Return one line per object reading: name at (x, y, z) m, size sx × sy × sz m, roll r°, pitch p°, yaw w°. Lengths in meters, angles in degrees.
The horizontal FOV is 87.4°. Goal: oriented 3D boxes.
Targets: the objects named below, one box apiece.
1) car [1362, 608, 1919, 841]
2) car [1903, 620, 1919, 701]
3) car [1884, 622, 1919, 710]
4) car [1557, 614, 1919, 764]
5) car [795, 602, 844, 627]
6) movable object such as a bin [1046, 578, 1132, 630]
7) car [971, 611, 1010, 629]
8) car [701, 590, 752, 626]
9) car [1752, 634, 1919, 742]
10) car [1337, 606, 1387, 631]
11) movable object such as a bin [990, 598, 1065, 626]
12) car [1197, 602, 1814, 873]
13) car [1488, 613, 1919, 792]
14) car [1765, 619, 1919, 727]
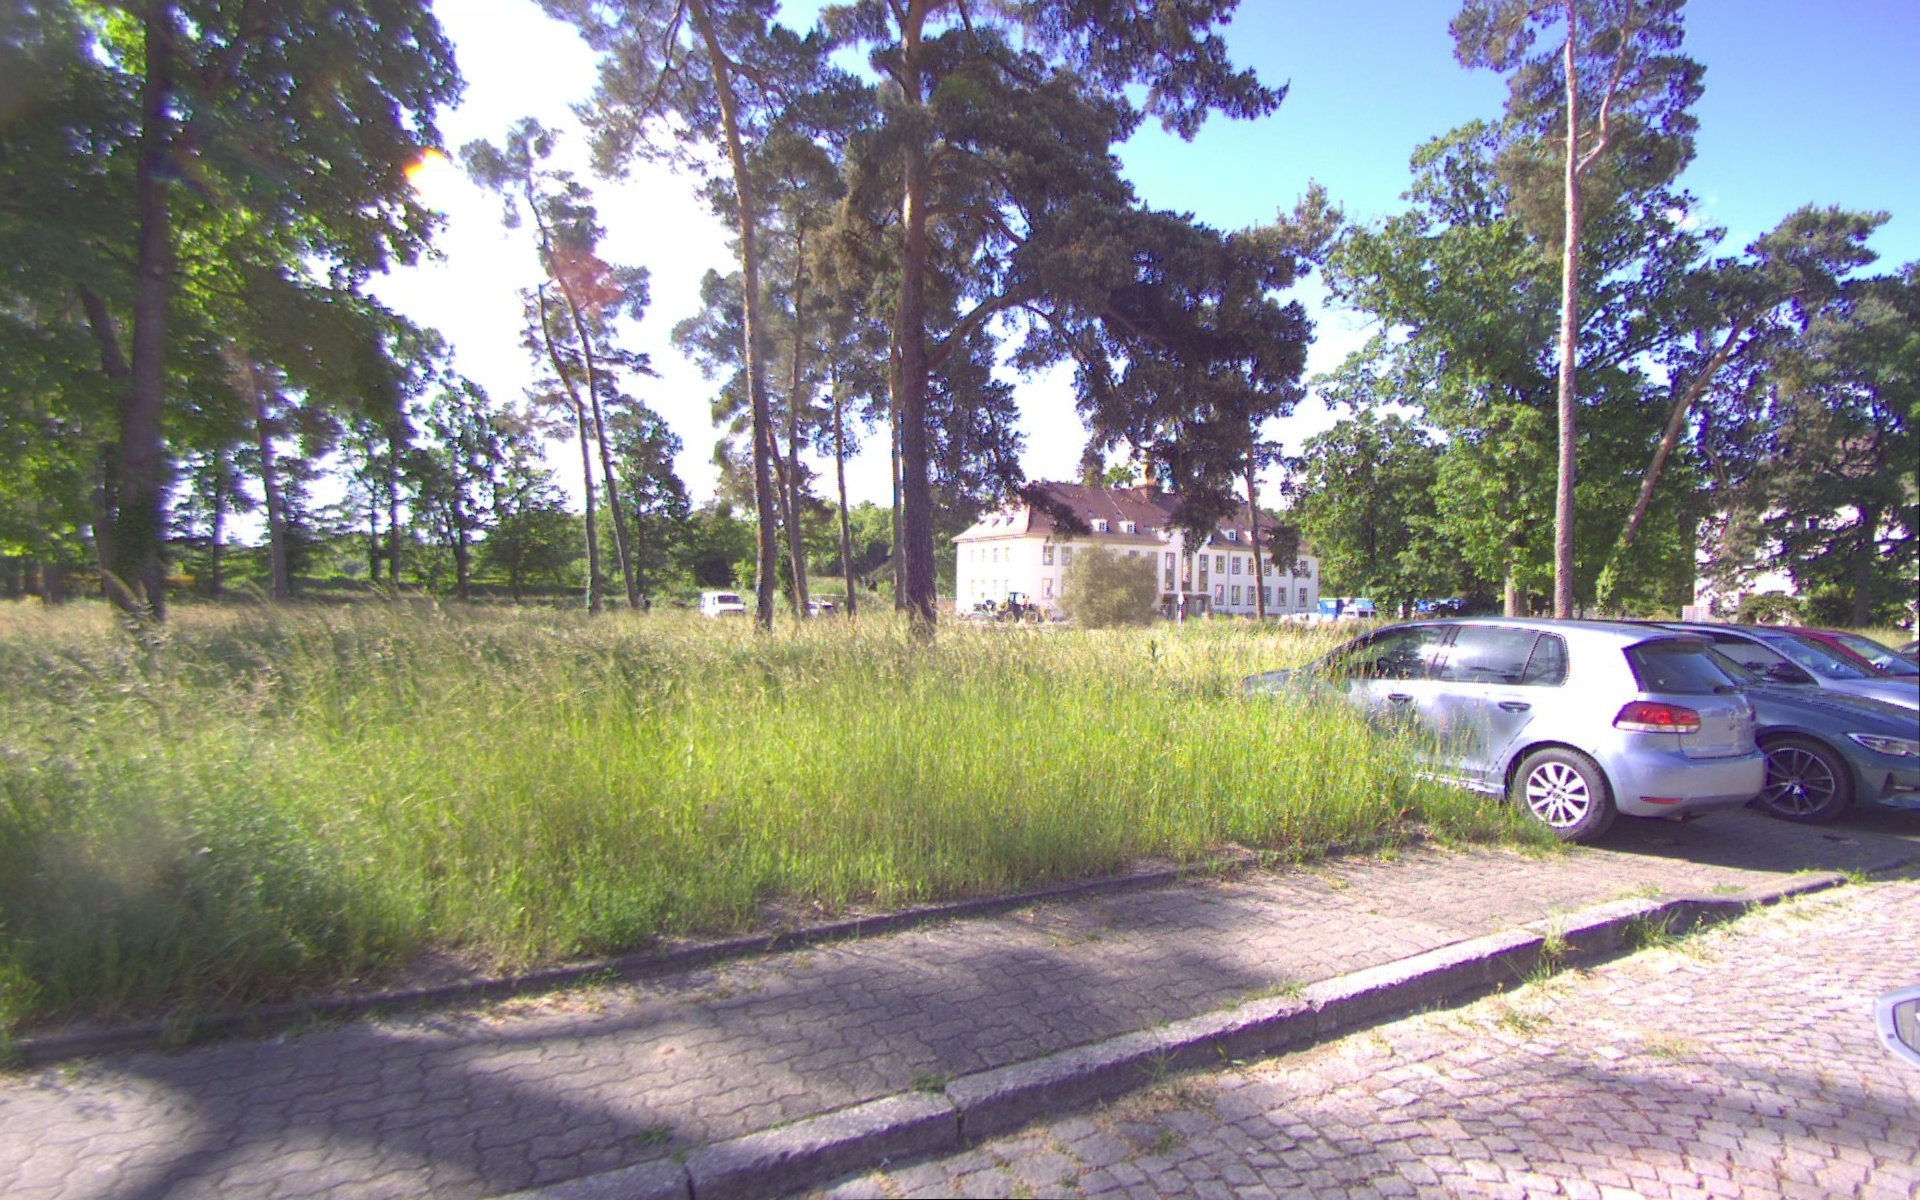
car at (6.399, 0.917, 9.421) m, size 1.963 × 1.471 × 4.553 m, roll 2°, pitch 1°, yaw -33°
car at (19.691, 1.210, 17.652) m, size 1.802 × 1.495 × 4.176 m, roll 1°, pitch 1°, yaw -30°
car at (17.508, 1.167, 15.724) m, size 1.899 × 1.444 × 4.059 m, roll 1°, pitch 1°, yaw -28°
car at (10.416, 1.015, 12.481) m, size 1.915 × 1.440 × 4.842 m, roll 1°, pitch 1°, yaw -29°
car at (-9.507, 0.969, 67.531) m, size 1.889 × 1.626 × 4.211 m, roll 1°, pitch -1°, yaw -29°
movable object such as a bin at (10.094, 0.355, 77.898) m, size 3.867 × 3.781 × 6.768 m, roll 1°, pitch -1°, yaw 36°
car at (3.379, 2.187, 111.109) m, size 1.981 × 1.879 × 4.086 m, roll 2°, pitch -1°, yaw -42°
car at (-14.939, 0.512, 64.030) m, size 1.933 × 2.193 × 4.825 m, roll 1°, pitch -1°, yaw -29°
car at (12.773, 1.186, 12.943) m, size 1.738 × 1.250 × 3.614 m, roll 2°, pitch 1°, yaw -29°
car at (41.541, 1.903, 103.756) m, size 5.214 × 2.469 × 1.975 m, roll 1°, pitch -1°, yaw -30°
movable object such as a bin at (5.471, 0.949, 81.179) m, size 5.565 × 2.154 × 2.529 m, roll 1°, pitch -1°, yaw 16°
car at (4.097, 0.838, 8.233) m, size 1.927 × 1.503 × 4.005 m, roll 1°, pitch 1°, yaw -31°
car at (8.638, 0.983, 10.918) m, size 1.915 × 1.440 × 4.842 m, roll 2°, pitch 1°, yaw -29°
car at (14.744, 1.136, 14.823) m, size 1.799 × 1.471 × 4.059 m, roll 2°, pitch 1°, yaw -28°
